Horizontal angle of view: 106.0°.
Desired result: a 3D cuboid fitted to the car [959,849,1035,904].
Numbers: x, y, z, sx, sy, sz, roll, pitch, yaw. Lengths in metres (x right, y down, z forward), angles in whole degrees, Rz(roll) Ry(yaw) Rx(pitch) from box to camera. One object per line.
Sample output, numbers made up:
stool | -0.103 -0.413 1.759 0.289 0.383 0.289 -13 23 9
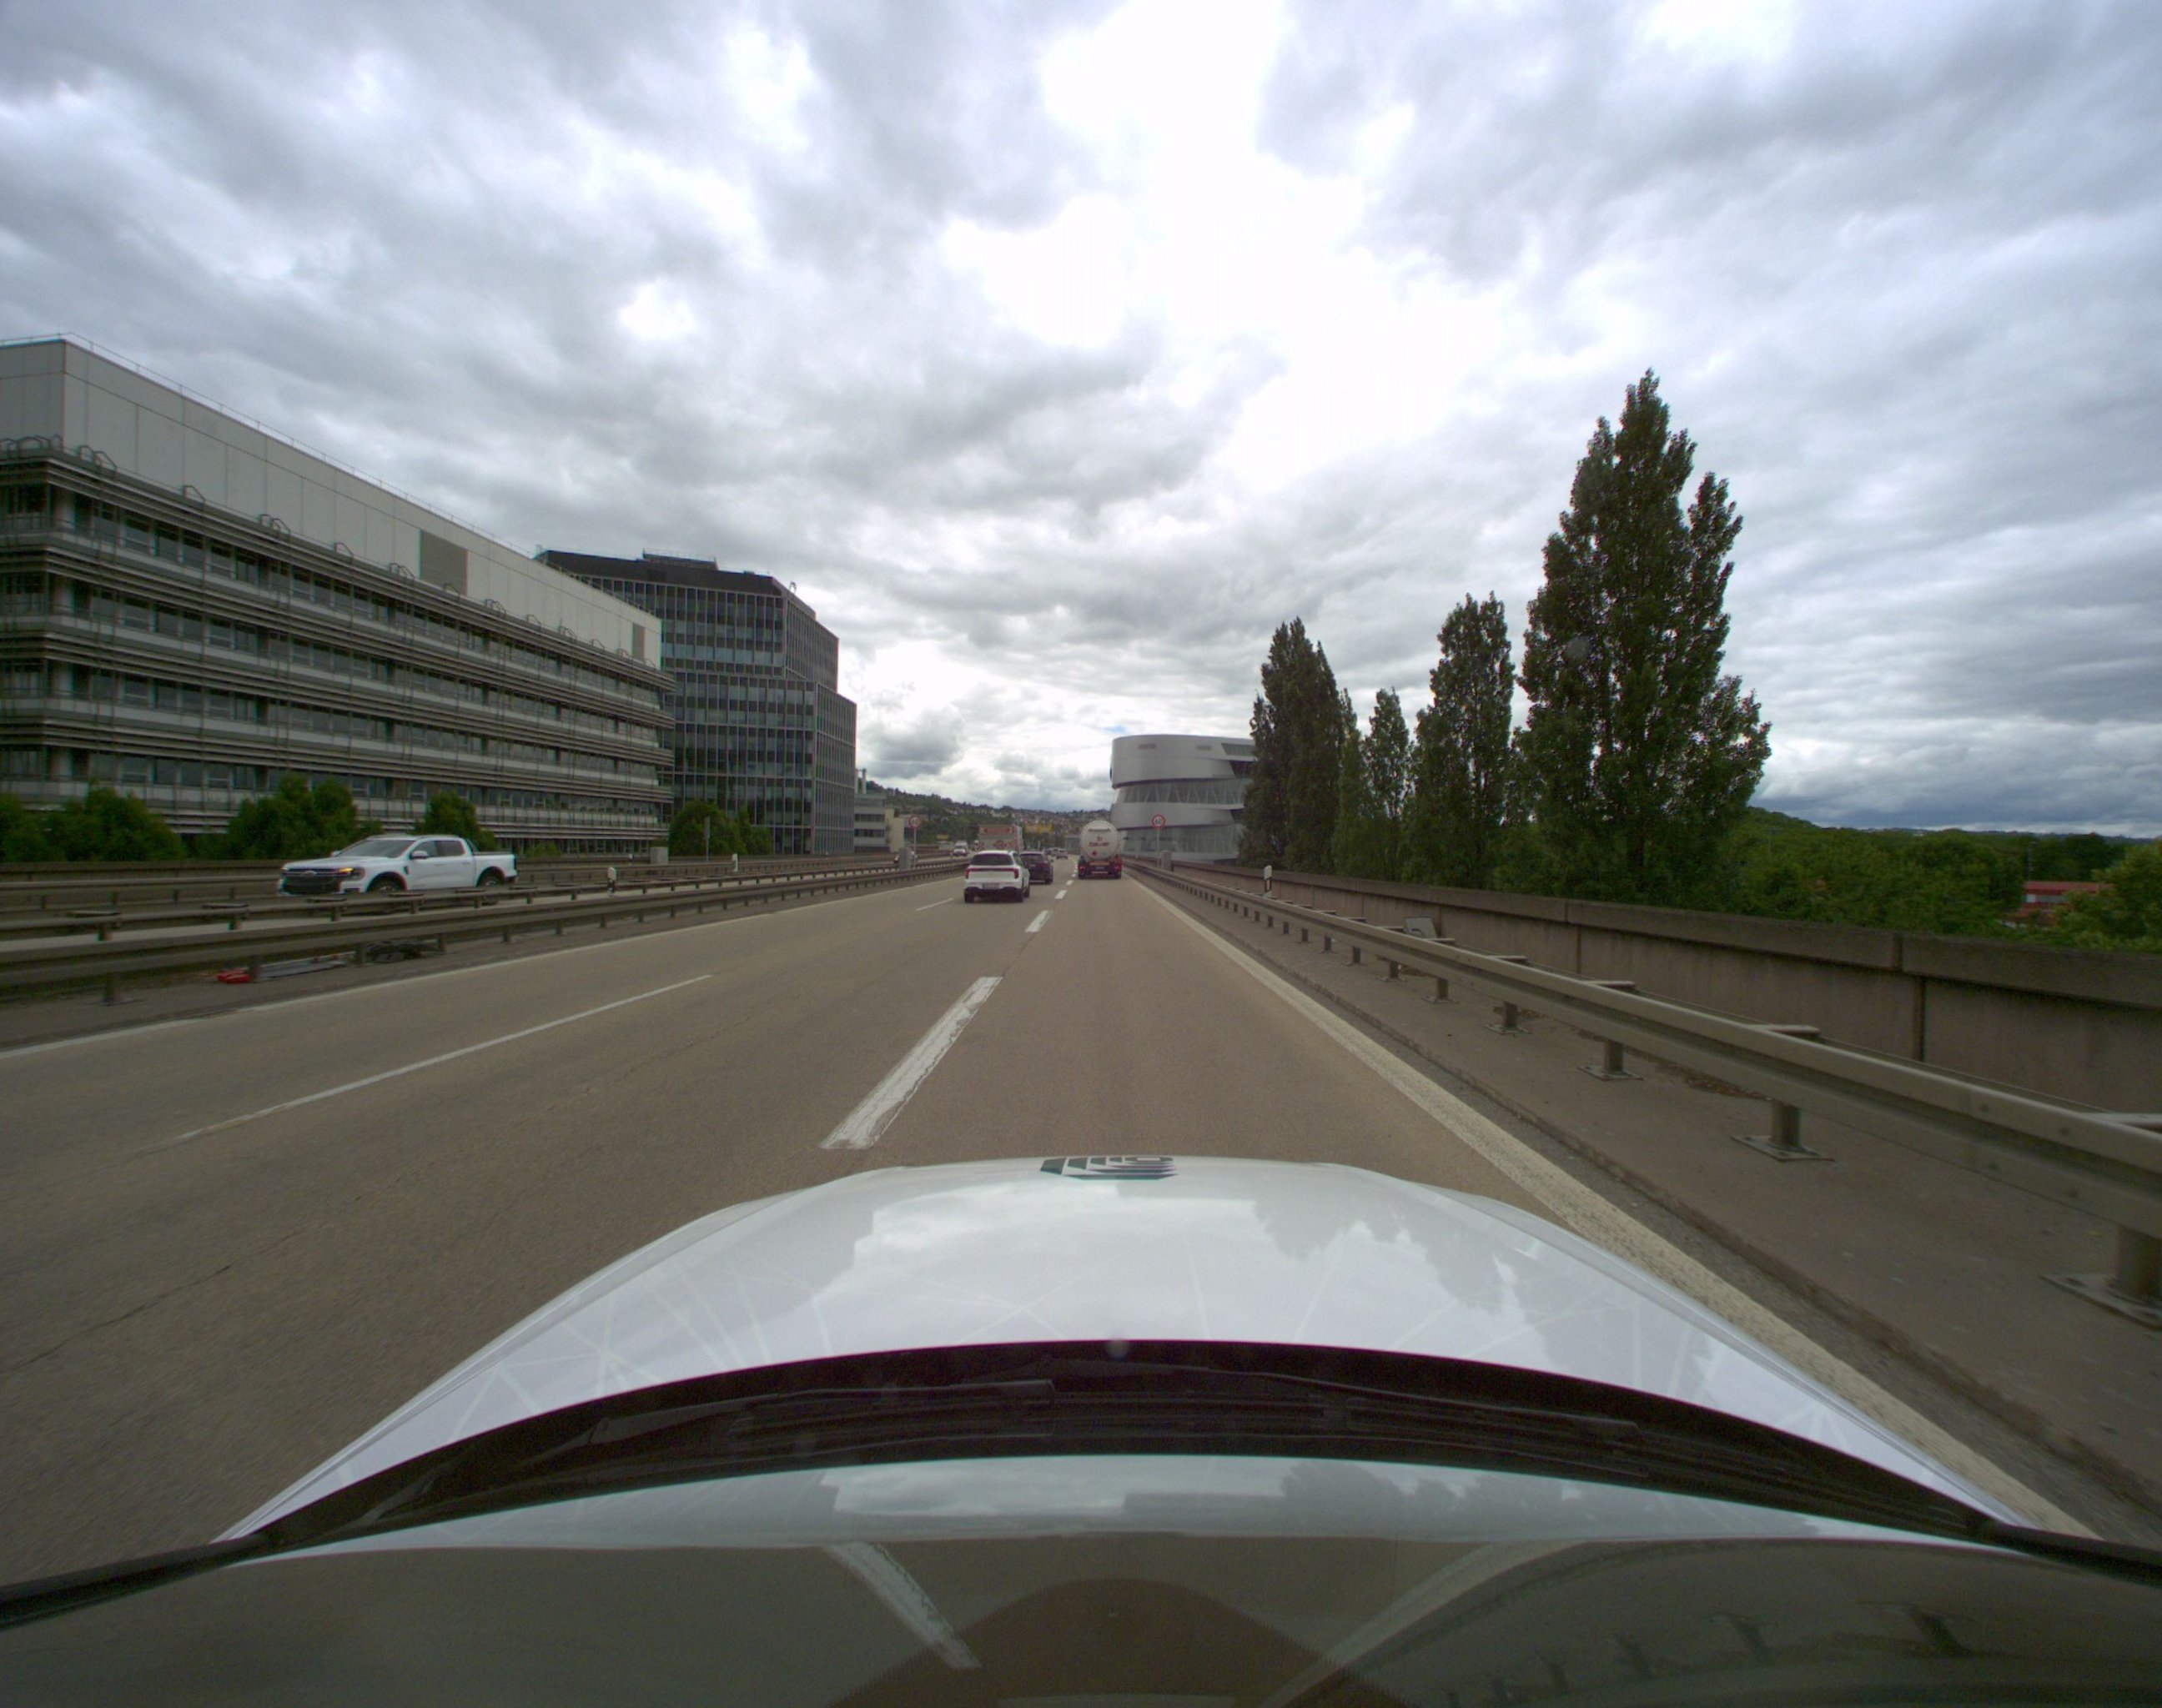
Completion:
car | -2.720 0.713 27.337 1.986 1.675 4.408 0 0 1

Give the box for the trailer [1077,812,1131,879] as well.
trailer | 1.378 -0.455 50.232 3.046 3.790 8.305 0 0 1

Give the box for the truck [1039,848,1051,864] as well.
truck | -10.659 0.485 240.242 3.052 4.562 8.290 0 0 -5

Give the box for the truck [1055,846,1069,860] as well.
truck | -3.162 -0.163 136.407 2.248 2.164 5.067 0 0 0

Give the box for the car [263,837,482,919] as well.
car | -16.483 0.523 19.250 1.780 1.720 3.776 1 0 1

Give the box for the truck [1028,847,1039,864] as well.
truck | -13.002 0.387 222.713 3.052 4.562 8.290 0 0 -5

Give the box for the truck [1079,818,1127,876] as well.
truck | 1.460 -0.440 54.795 3.004 3.657 6.274 0 0 1

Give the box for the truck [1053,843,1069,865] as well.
truck | -4.279 0.063 173.902 3.052 4.562 8.290 0 0 -5

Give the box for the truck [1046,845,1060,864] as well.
truck | -6.853 0.218 198.292 3.052 4.562 8.290 0 0 -5

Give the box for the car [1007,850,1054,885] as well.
car | -2.490 0.665 41.219 1.986 1.675 4.408 0 0 1

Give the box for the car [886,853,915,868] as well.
car | -17.476 0.653 78.896 1.780 1.377 4.230 1 0 1

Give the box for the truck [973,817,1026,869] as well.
truck | -6.077 -0.795 62.021 3.046 3.690 8.305 0 0 1

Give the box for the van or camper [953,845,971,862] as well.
van or camper | -22.132 -0.116 151.707 2.163 3.008 7.118 0 0 1
